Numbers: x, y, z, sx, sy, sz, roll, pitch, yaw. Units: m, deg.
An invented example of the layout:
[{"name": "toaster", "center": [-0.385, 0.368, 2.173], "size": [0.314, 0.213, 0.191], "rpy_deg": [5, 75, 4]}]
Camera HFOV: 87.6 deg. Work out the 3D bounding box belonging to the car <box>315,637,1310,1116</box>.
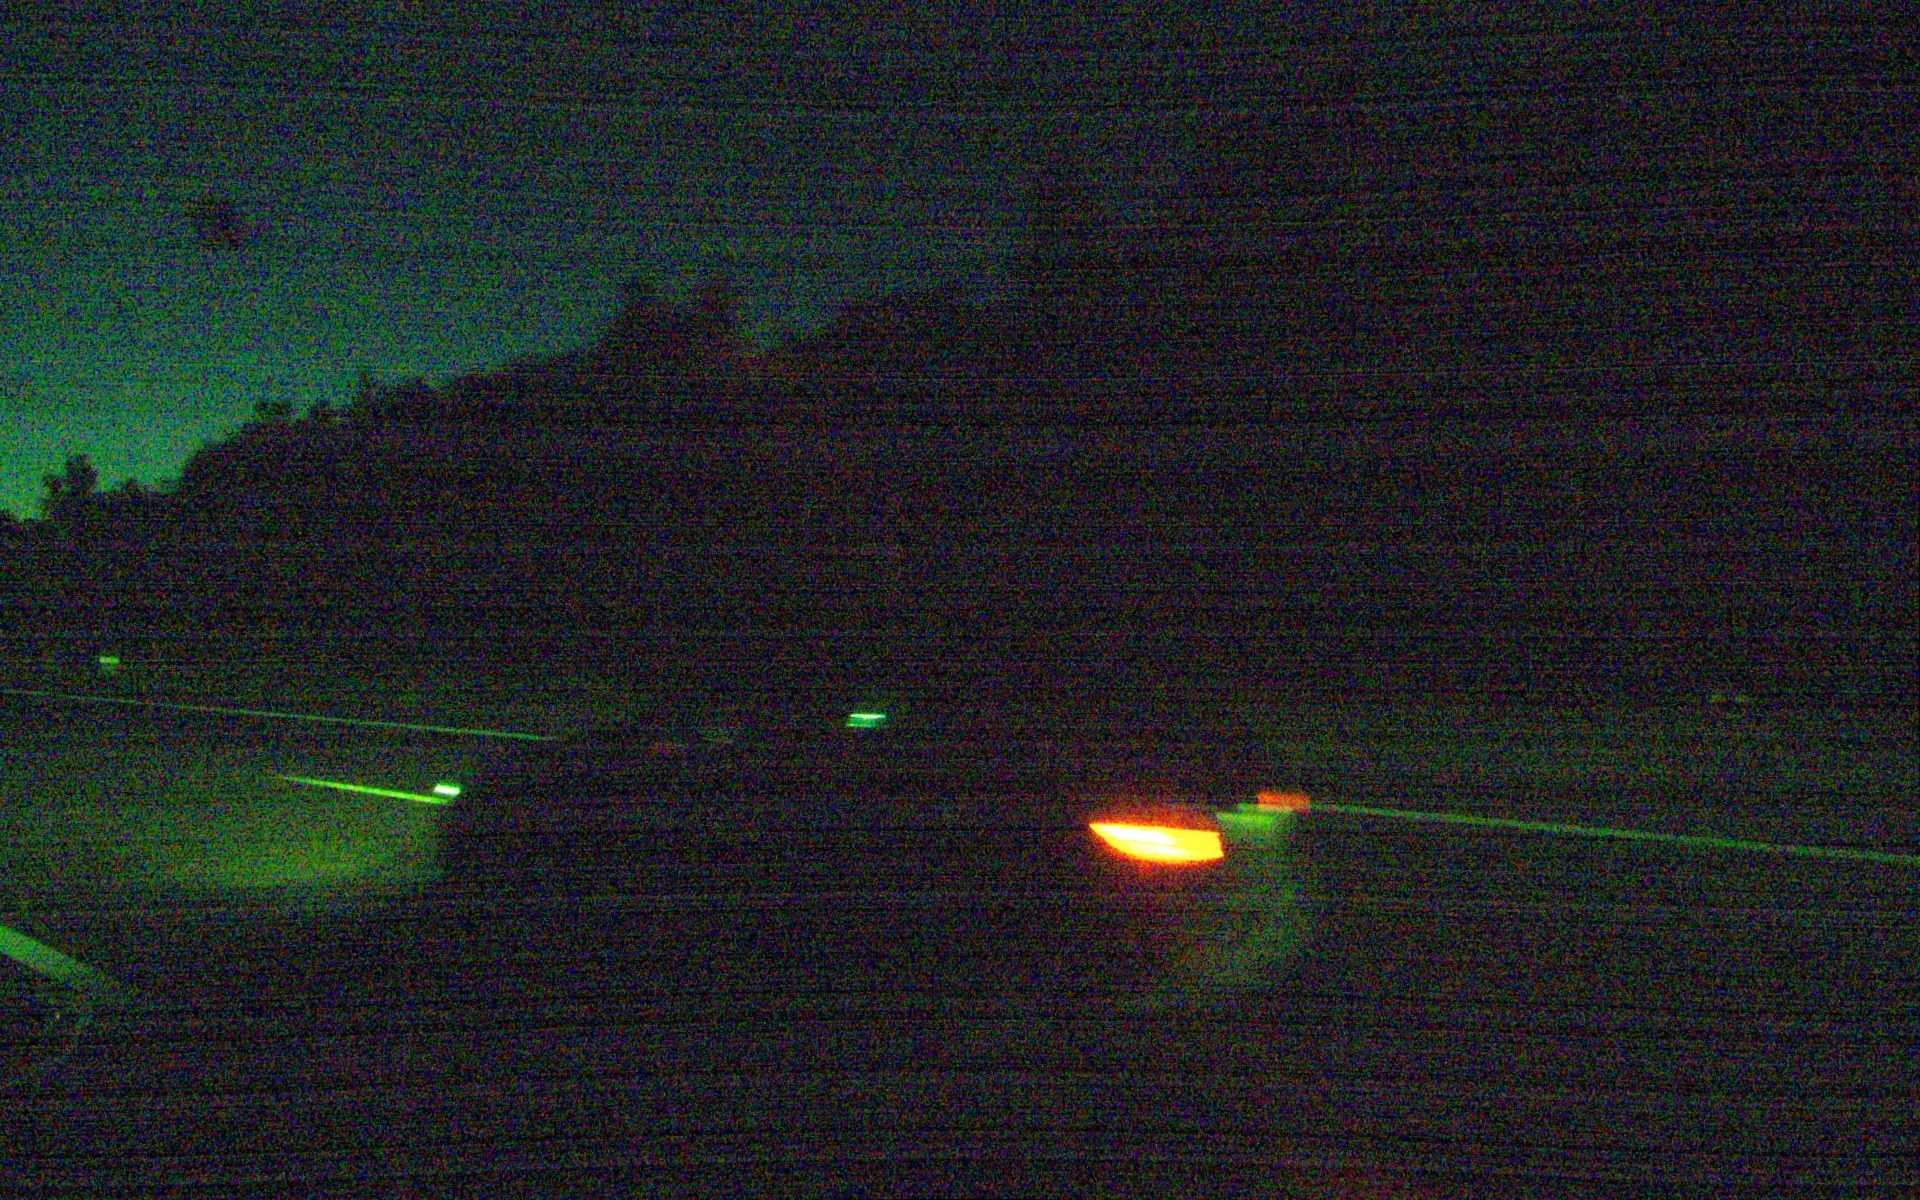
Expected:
[{"name": "car", "center": [-0.985, 0.915, 5.108], "size": [4.994, 1.419, 1.833], "rpy_deg": [-1, -2, 31]}]
